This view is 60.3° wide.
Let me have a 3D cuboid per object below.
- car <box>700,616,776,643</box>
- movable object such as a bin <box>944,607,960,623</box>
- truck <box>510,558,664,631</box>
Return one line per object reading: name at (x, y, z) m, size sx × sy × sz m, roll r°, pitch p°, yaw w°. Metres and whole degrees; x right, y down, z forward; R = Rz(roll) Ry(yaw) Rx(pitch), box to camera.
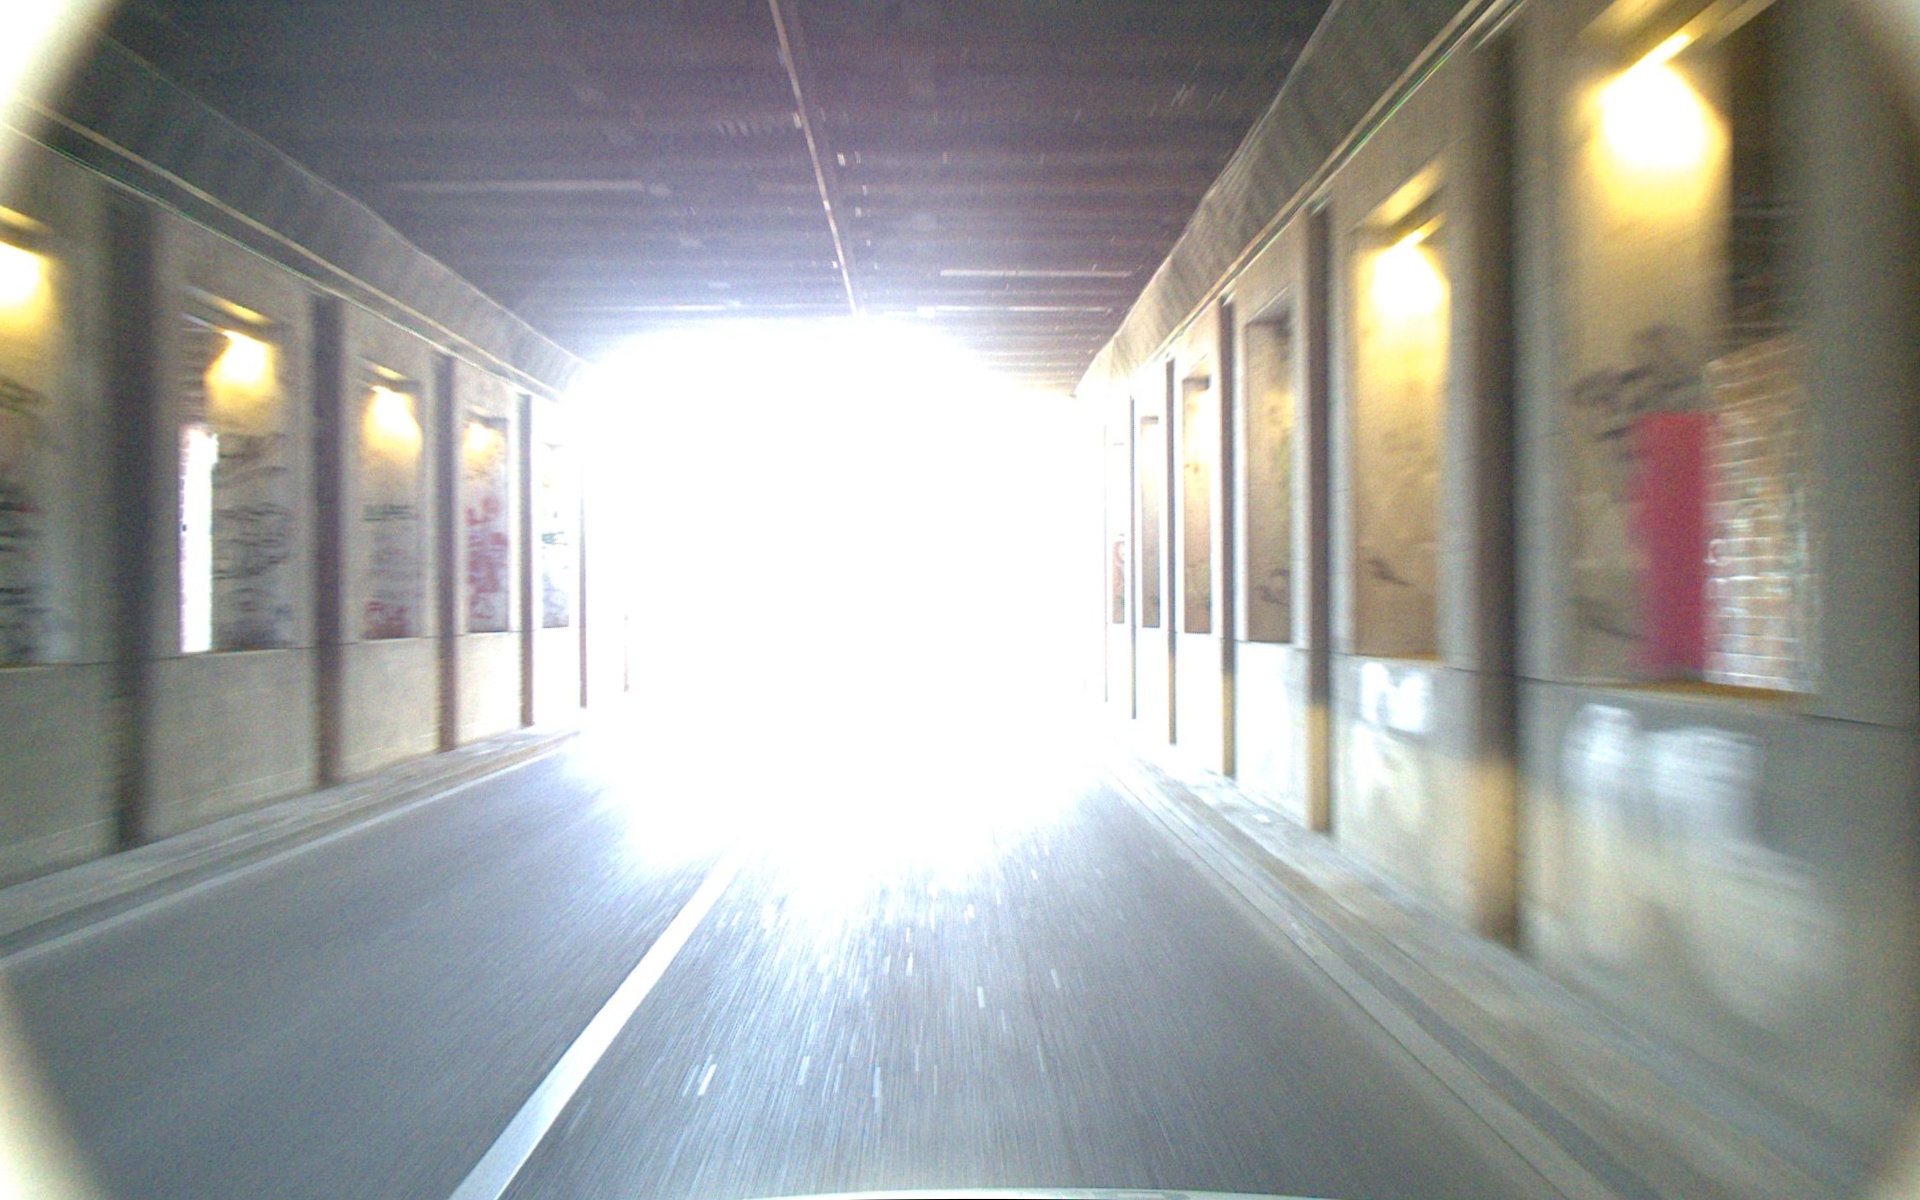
car at (-13.302, 1.755, 99.066) m, size 4.127 × 1.516 × 1.875 m, roll 0°, pitch -1°, yaw 26°
movable object such as a bin at (-0.708, 1.351, 151.407) m, size 1.339 × 1.443 × 1.063 m, roll 1°, pitch -1°, yaw -8°
truck at (-21.522, -0.235, 95.156) m, size 9.126 × 3.952 × 2.707 m, roll -1°, pitch -2°, yaw 28°
